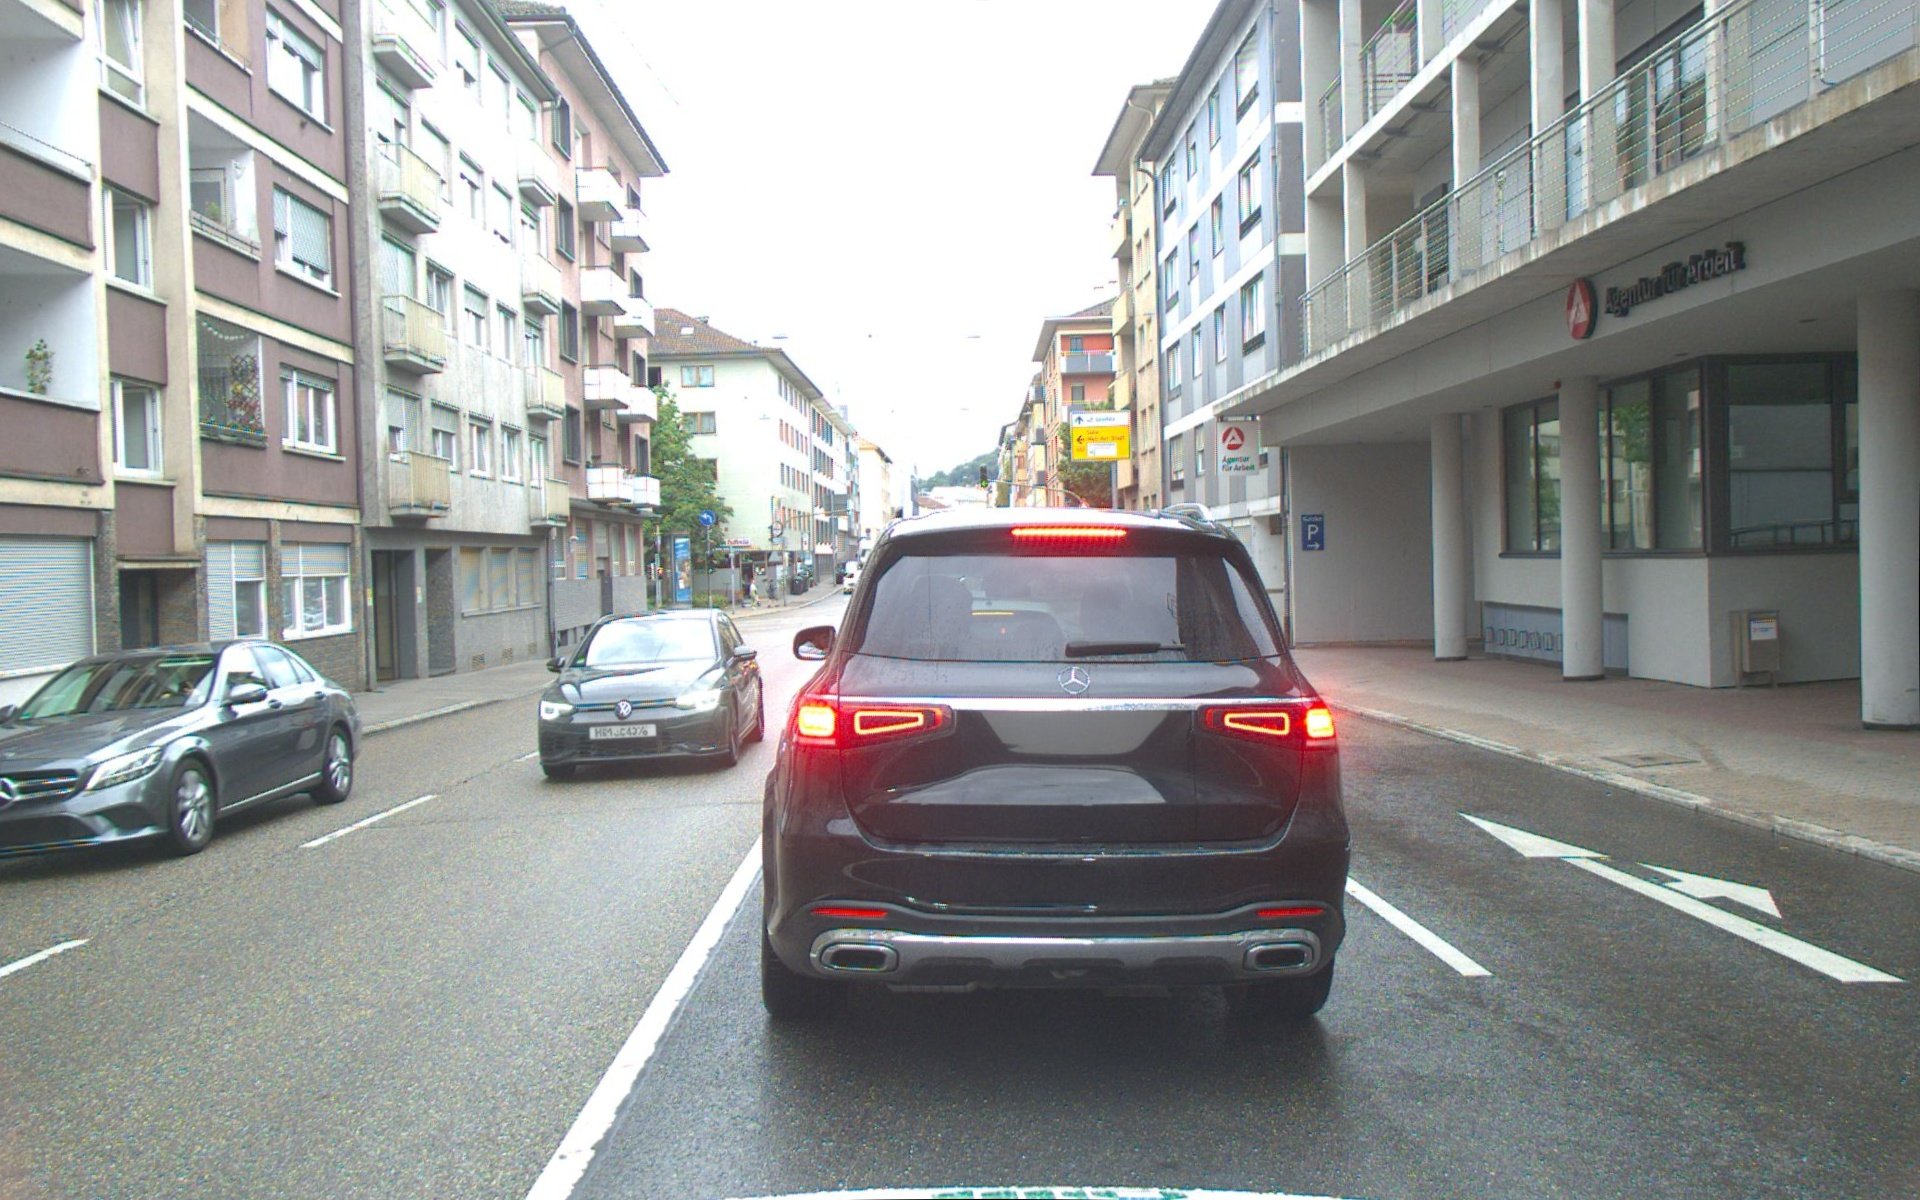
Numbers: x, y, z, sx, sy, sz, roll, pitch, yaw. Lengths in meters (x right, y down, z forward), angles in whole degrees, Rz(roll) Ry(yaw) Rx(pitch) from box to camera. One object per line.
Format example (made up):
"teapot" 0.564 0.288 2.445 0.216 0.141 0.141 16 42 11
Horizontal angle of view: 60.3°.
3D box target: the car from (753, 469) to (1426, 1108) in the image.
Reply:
"car" 0.354 0.562 7.029 1.944 1.836 4.389 1 0 -1

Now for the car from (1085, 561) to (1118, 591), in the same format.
"car" 8.091 -1.350 94.672 1.636 1.616 3.331 -2 1 1

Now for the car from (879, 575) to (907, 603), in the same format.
"car" -4.129 -0.640 101.179 1.586 1.566 4.215 -3 0 -3

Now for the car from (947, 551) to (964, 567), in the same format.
"car" -0.508 -4.483 182.576 1.586 1.566 4.215 -3 0 -3

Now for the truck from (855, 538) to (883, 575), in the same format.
"truck" -8.599 -4.044 156.951 2.430 3.099 9.914 -3 0 -3

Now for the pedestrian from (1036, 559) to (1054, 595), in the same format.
"pedestrian" 4.947 -1.328 96.214 0.904 2.049 0.706 -2 0 -3

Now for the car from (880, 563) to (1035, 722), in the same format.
"car" -0.133 0.485 20.836 1.716 1.762 4.215 -1 0 -3

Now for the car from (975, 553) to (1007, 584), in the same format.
"car" 1.987 -2.025 106.117 1.689 1.790 4.215 -3 0 -3

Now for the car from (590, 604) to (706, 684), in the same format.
"car" -6.294 0.837 33.760 1.566 1.394 4.361 -4 0 -2

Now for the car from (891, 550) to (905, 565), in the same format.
"car" -7.281 -4.933 193.614 1.586 1.566 4.215 -3 0 -3

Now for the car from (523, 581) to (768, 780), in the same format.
"car" -2.941 0.711 16.318 1.661 1.608 4.216 -3 -1 -2

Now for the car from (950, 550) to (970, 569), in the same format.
"car" -0.010 -3.707 153.178 1.586 1.566 4.215 -3 0 -3

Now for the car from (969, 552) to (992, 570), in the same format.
"car" 1.752 -3.347 142.181 1.586 1.411 4.215 -3 0 -3

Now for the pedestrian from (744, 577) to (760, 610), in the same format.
"pedestrian" -11.705 -0.364 93.111 0.622 1.795 0.774 -2 0 14

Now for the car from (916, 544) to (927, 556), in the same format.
"car" -5.821 -7.564 250.169 1.586 1.566 4.215 -3 0 -3

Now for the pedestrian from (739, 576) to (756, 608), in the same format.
"pedestrian" -13.122 -0.508 101.986 0.904 1.935 0.706 -2 0 -3

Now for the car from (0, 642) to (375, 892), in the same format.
"car" -5.975 1.119 12.460 1.661 1.394 4.364 -4 0 -2

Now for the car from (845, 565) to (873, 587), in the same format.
"car" -6.904 -1.644 113.160 1.848 1.286 4.215 -3 0 -3

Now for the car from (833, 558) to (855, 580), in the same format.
"car" -9.218 -2.476 131.644 1.586 1.566 4.215 -3 0 -3
